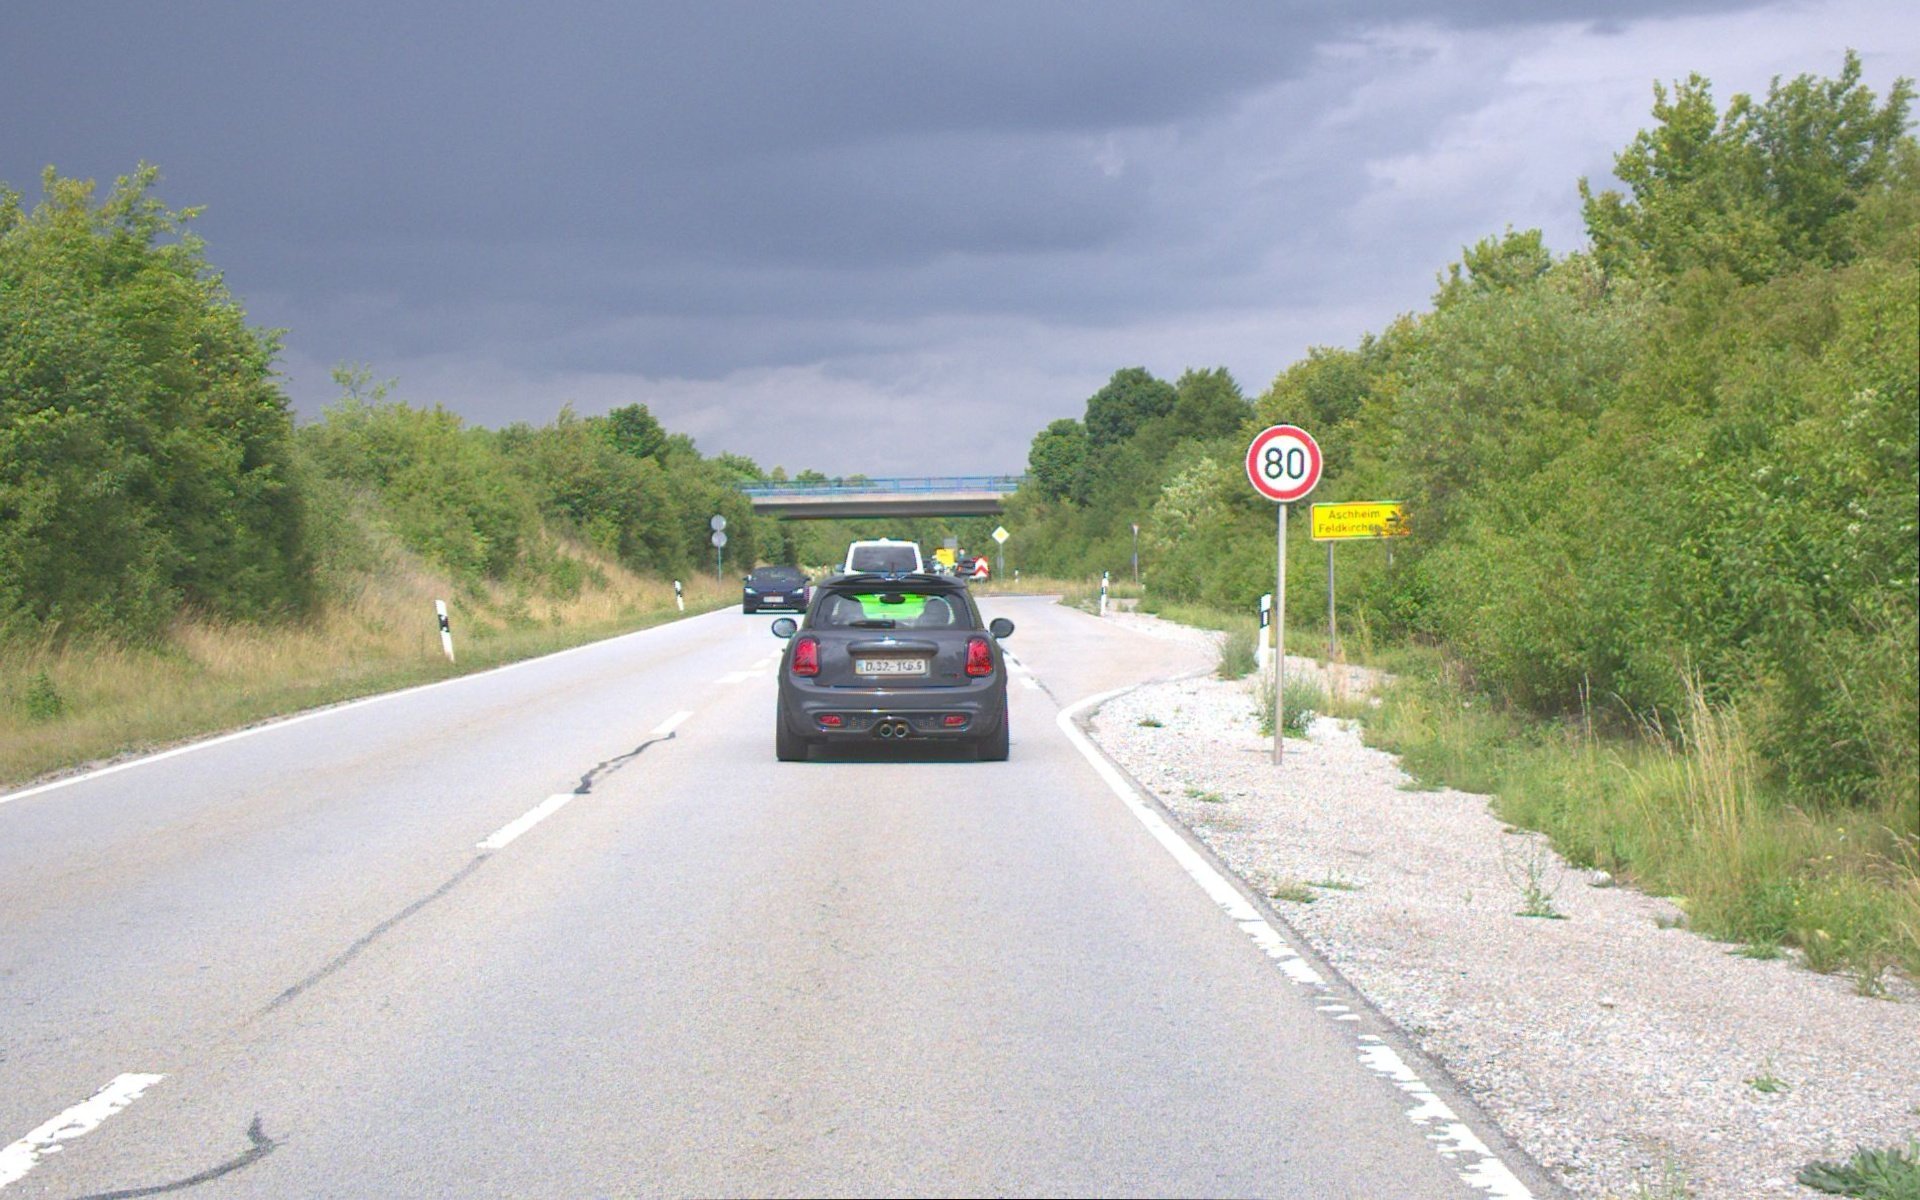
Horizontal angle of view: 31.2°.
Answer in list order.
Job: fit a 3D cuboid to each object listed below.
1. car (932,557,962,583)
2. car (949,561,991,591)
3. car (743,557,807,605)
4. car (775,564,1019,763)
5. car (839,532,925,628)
[{"bbox_3d":[-0.874,-1.960,225.616,1.780,1.700,4.000,0,1,-3],"label":"car"},{"bbox_3d":[0.506,-1.253,181.500,1.993,1.547,4.000,1,1,-3],"label":"car"},{"bbox_3d":[-5.350,-0.567,99.623,1.701,1.326,4.000,-1,1,-1],"label":"car"},{"bbox_3d":[-0.489,0.444,26.991,1.756,1.422,4.000,1,1,-1],"label":"car"},{"bbox_3d":[-1.718,-0.462,76.162,1.819,2.047,4.000,1,1,-1],"label":"car"}]
